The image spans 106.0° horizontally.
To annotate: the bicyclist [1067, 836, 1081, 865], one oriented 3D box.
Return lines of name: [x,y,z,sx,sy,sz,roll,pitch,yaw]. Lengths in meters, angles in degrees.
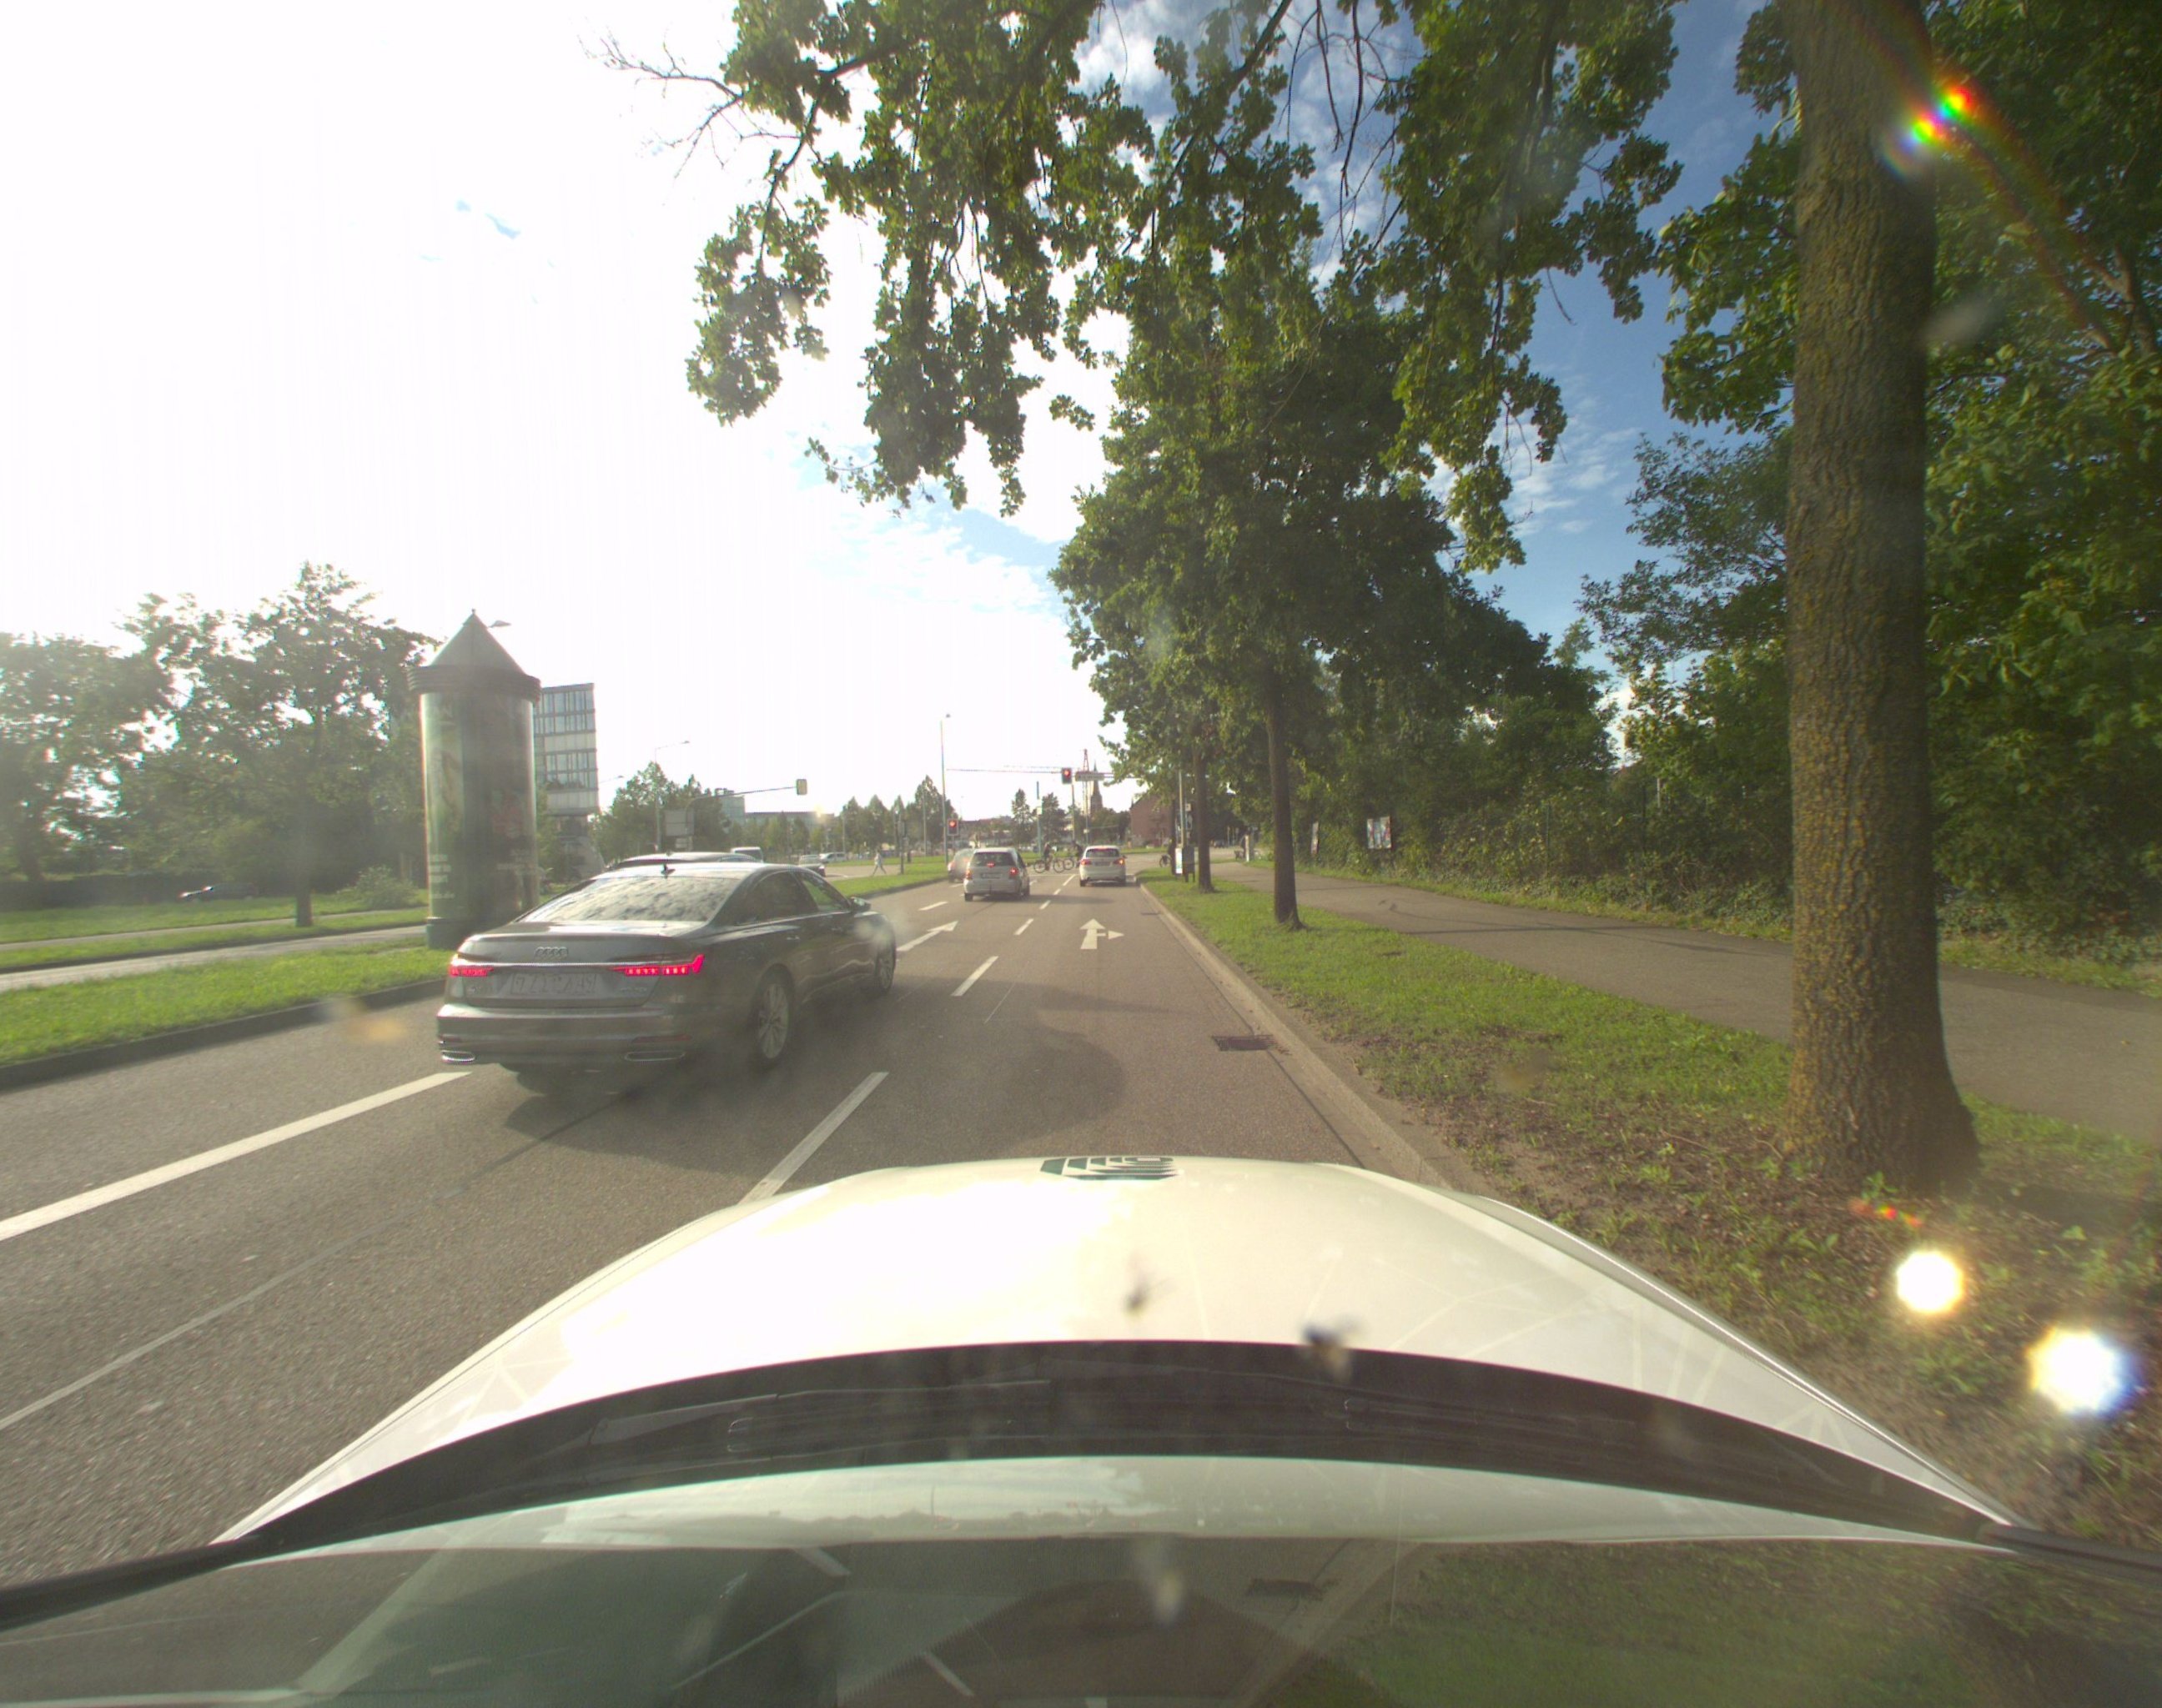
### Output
bicyclist: [-0.415,-0.214,49.064,0.786,1.668,0.549,-3,0,-3]

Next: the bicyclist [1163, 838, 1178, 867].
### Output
bicyclist: [5.258,-0.115,47.806,0.765,1.647,0.535,-3,1,1]

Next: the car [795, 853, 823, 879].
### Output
car: [-18.600,0.813,55.701,1.710,1.573,3.974,-4,1,-19]

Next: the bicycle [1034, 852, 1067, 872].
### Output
bicycle: [-1.712,0.430,45.742,1.771,1.050,0.708,-2,0,-11]

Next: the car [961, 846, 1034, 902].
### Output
car: [-2.512,0.548,25.409,1.723,1.558,4.060,-1,1,2]

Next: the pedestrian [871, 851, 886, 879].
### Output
pedestrian: [-11.716,0.639,47.218,0.653,1.568,0.615,-3,0,-3]

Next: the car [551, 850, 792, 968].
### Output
car: [-6.319,0.742,13.155,1.723,1.558,4.020,-1,1,2]

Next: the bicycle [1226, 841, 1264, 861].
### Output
bicycle: [9.941,-0.163,49.309,2.041,1.120,0.887,-3,0,-13]

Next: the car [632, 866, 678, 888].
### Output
car: [-35.573,1.903,68.037,3.210,1.574,1.558,-4,0,-33]

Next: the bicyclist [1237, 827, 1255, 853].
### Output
bicyclist: [10.001,-0.854,49.348,0.821,1.489,0.759,-3,0,-13]

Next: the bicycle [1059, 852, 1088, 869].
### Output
bicycle: [-0.444,0.401,49.060,1.671,0.967,0.643,-3,0,-4]

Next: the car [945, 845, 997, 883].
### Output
car: [-4.941,0.417,37.106,1.715,1.564,3.879,-1,1,2]

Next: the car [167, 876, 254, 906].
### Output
car: [-60.603,2.570,56.792,1.825,1.727,4.025,-3,1,44]

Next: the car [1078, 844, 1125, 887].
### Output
car: [0.818,0.409,32.668,1.723,1.558,4.059,-1,1,1]

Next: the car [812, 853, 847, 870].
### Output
car: [-32.725,0.921,106.181,1.804,2.013,4.263,-3,-1,28]

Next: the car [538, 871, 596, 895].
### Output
car: [-45.937,2.579,72.823,1.975,2.014,4.024,-1,-1,44]

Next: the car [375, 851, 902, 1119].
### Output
car: [-3.032,0.736,6.955,1.883,1.483,4.614,-1,0,1]

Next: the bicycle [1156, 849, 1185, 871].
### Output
bicycle: [5.236,0.330,47.815,1.614,1.217,0.491,-2,0,0]

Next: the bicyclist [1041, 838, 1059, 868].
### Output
bicyclist: [-1.747,-0.067,45.740,0.830,1.647,0.683,-2,0,-11]

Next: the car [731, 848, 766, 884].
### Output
car: [-23.039,0.797,56.565,2.002,2.235,5.881,-4,1,-22]
